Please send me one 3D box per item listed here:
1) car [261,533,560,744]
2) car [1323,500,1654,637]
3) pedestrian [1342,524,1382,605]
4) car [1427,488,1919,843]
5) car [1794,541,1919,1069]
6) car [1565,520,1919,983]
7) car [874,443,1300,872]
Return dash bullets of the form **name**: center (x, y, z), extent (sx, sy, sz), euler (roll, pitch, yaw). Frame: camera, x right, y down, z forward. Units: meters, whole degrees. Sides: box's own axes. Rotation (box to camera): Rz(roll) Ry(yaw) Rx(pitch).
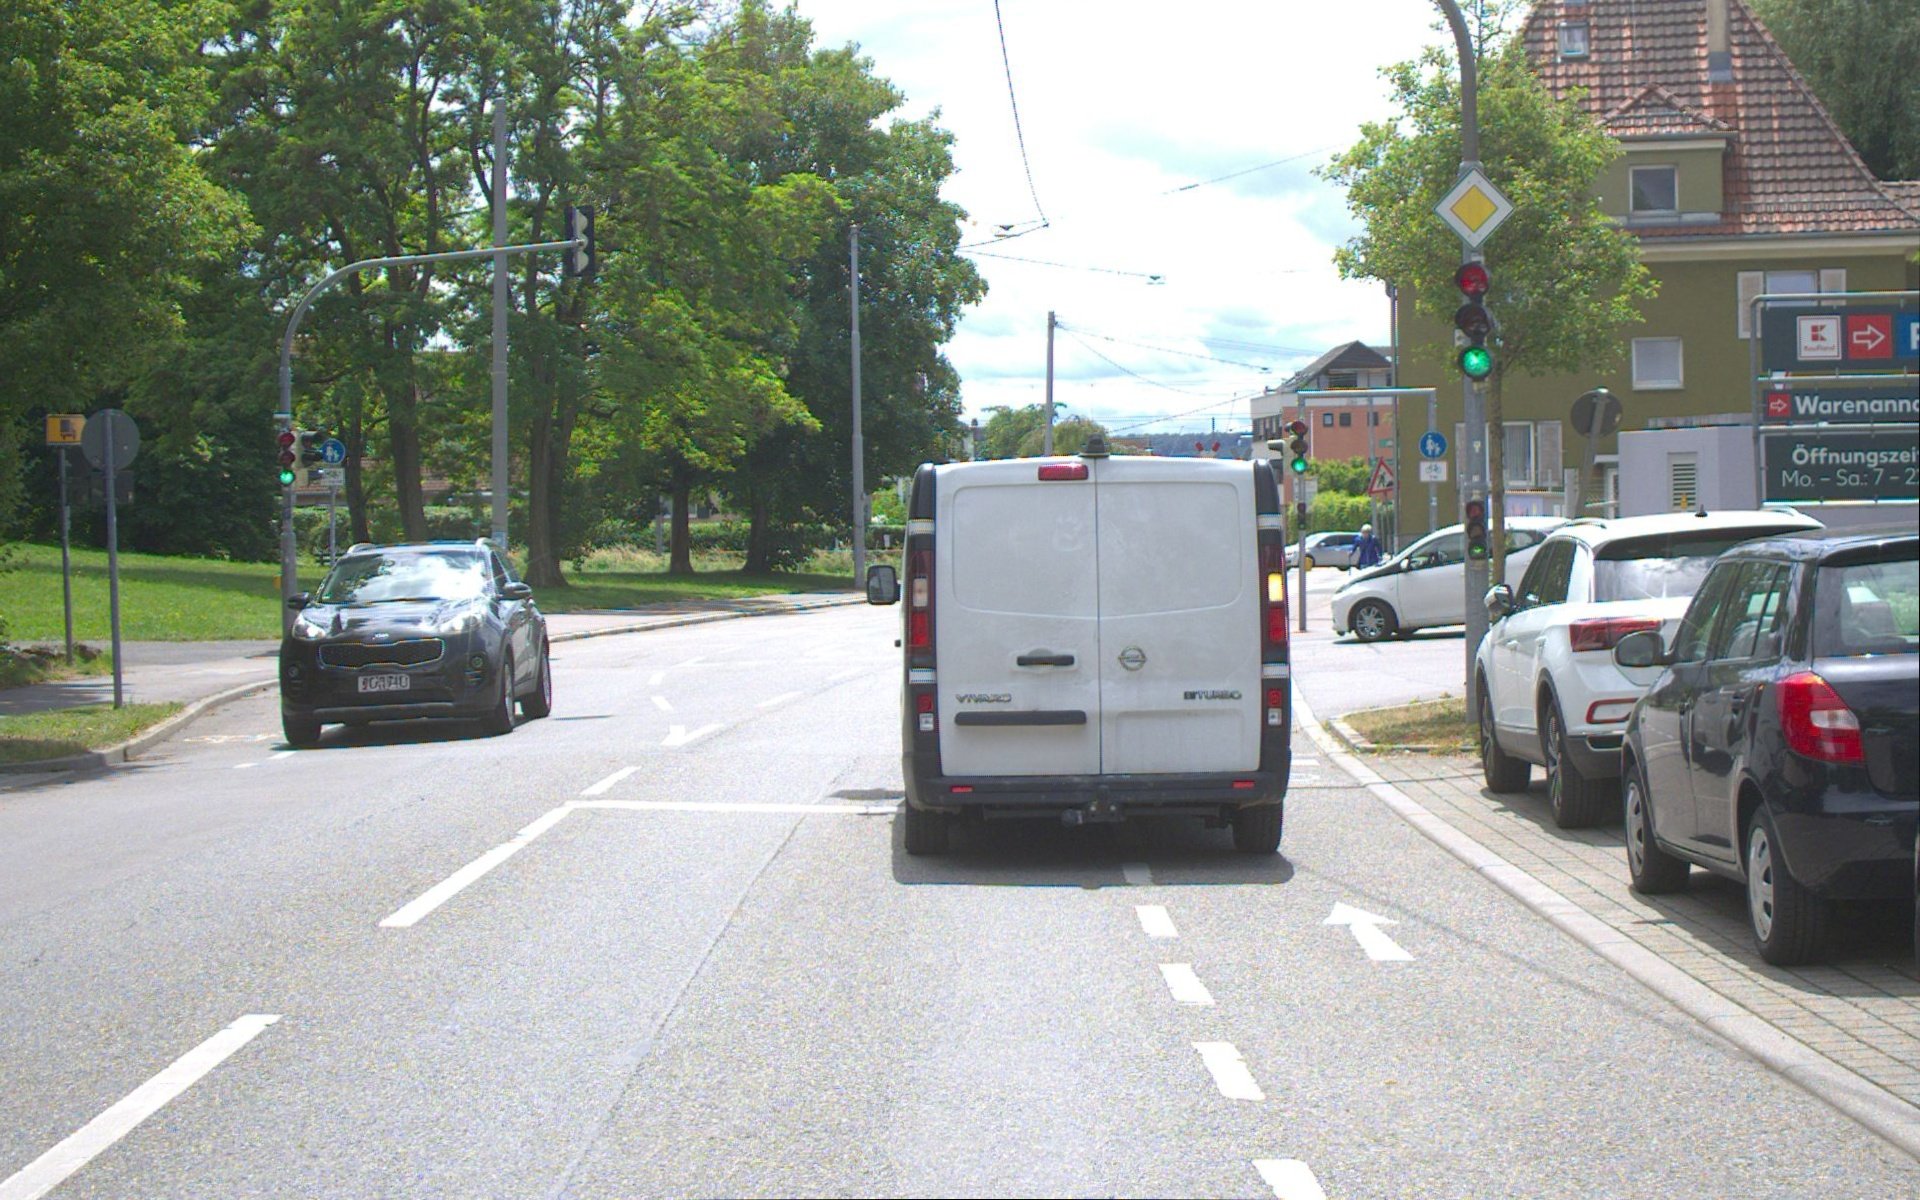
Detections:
- **car**: center (-4.626, 0.272, 29.514), extent (1.833, 1.611, 4.152), euler (-3, 1, 0)
- **car**: center (6.855, -0.409, 44.543), extent (3.990, 1.601, 1.607), euler (-2, 1, 18)
- **pedestrian**: center (8.017, -0.708, 68.548), extent (0.678, 1.548, 0.835), euler (-3, -2, 9)
- **car**: center (3.773, 0.288, 18.838), extent (1.737, 1.611, 4.387), euler (-4, 1, 0)
- **car**: center (3.597, 0.548, 8.190), extent (1.764, 1.472, 4.936), euler (-4, 1, -2)
- **car**: center (3.481, 0.449, 13.217), extent (1.568, 1.488, 4.000), euler (-2, 1, 0)
- **car**: center (0.573, 0.227, 18.276), extent (1.938, 1.954, 4.833), euler (1, 1, 0)
